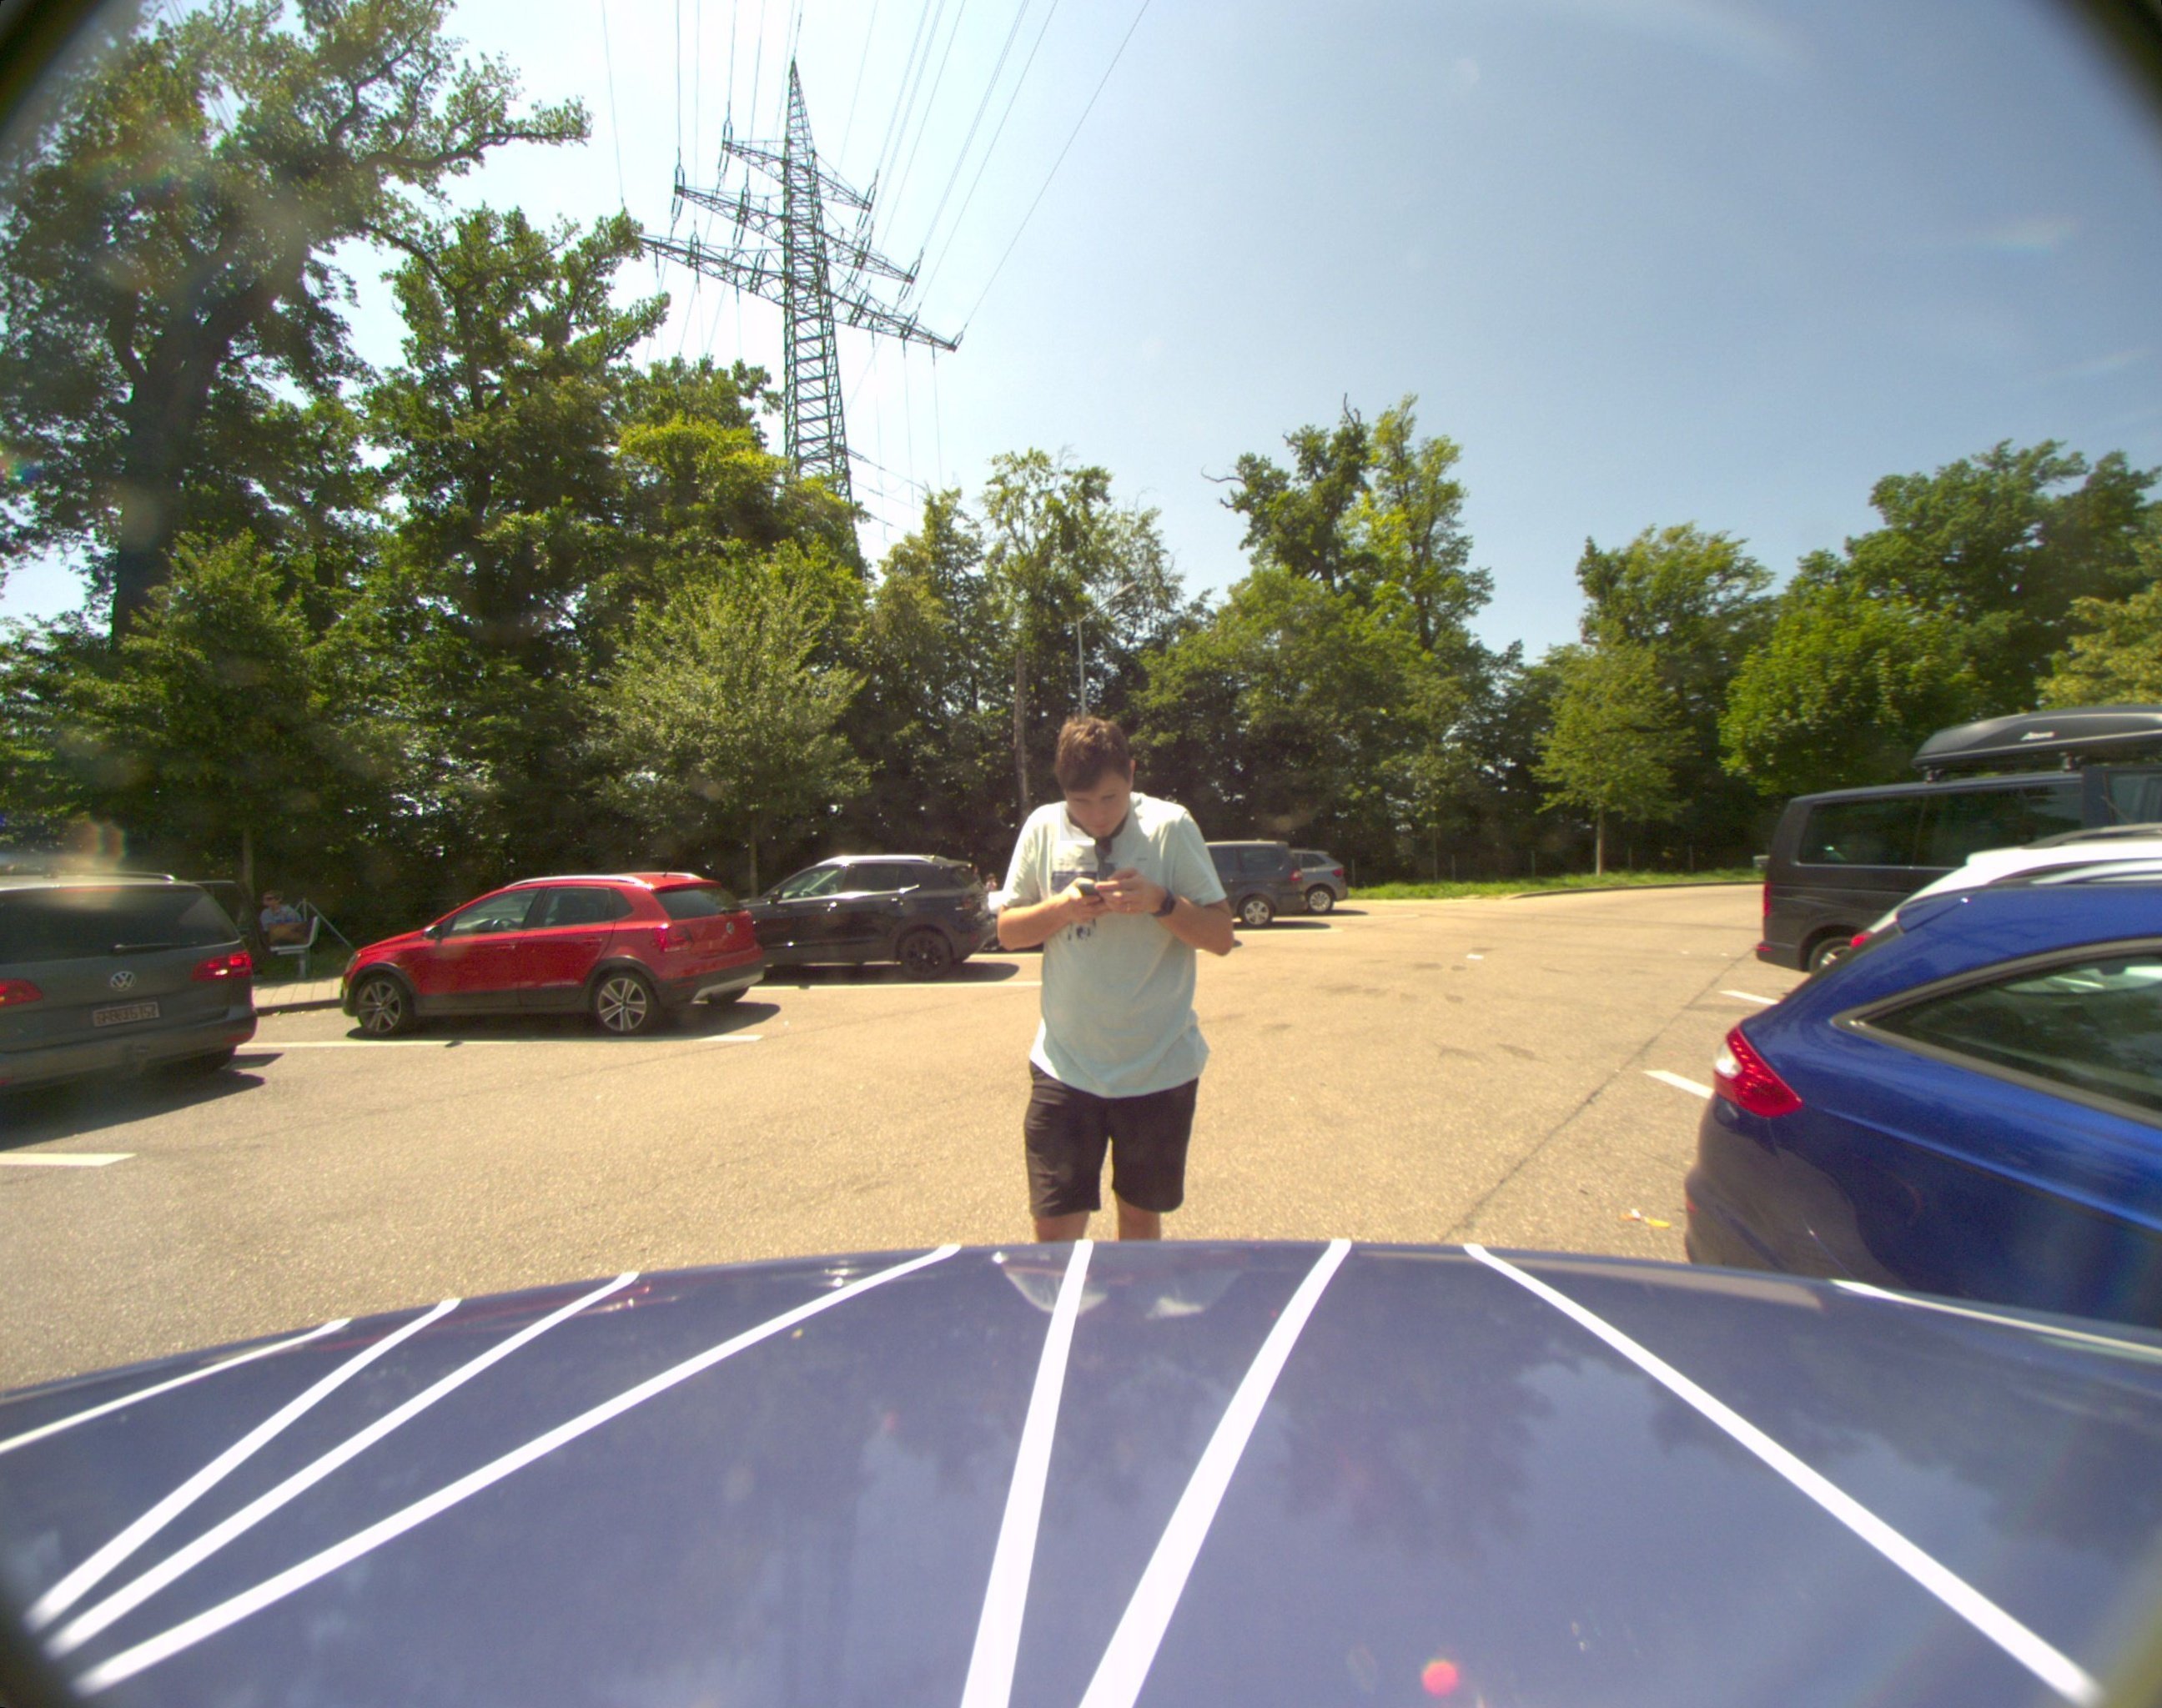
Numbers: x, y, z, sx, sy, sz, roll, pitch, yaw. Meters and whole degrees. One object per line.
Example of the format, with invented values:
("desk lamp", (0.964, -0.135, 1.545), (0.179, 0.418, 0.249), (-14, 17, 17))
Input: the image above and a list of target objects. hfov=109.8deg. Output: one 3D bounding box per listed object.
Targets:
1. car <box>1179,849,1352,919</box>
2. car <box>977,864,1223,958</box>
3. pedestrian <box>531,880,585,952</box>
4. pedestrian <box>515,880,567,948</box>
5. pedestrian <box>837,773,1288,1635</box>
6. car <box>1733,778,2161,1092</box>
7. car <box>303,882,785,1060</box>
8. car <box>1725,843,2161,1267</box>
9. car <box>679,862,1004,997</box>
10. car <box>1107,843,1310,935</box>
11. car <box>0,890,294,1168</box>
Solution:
("car", (4.341, 0.704, 18.174), (3.818, 1.530, 1.722), (-1, 1, 12))
("car", (0.366, 0.915, 12.745), (3.819, 1.377, 1.722), (-2, 1, 6))
("pedestrian", (-9.996, 1.167, 14.518), (0.782, 1.287, 0.670), (-1, 1, 45))
("pedestrian", (-10.909, 1.195, 15.337), (0.782, 1.287, 0.670), (-1, 1, 45))
("pedestrian", (-0.029, 0.759, 1.932), (0.890, 1.831, 0.622), (-2, 1, 1))
("car", (7.322, 0.438, 4.932), (1.961, 1.858, 4.642), (-3, -1, -3))
("car", (-5.237, 1.084, 7.669), (3.785, 1.457, 1.722), (-1, 1, 9))
("car", (4.874, 0.727, 2.302), (1.741, 1.524, 4.642), (-3, -1, -2))
("car", (-3.065, 0.954, 10.280), (3.787, 1.564, 1.721), (-2, 1, 2))
("car", (2.589, 0.682, 15.471), (3.818, 1.714, 1.722), (-1, 1, 12))
("car", (-8.290, 1.127, 5.460), (3.985, 1.572, 1.749), (-1, 1, 12))
